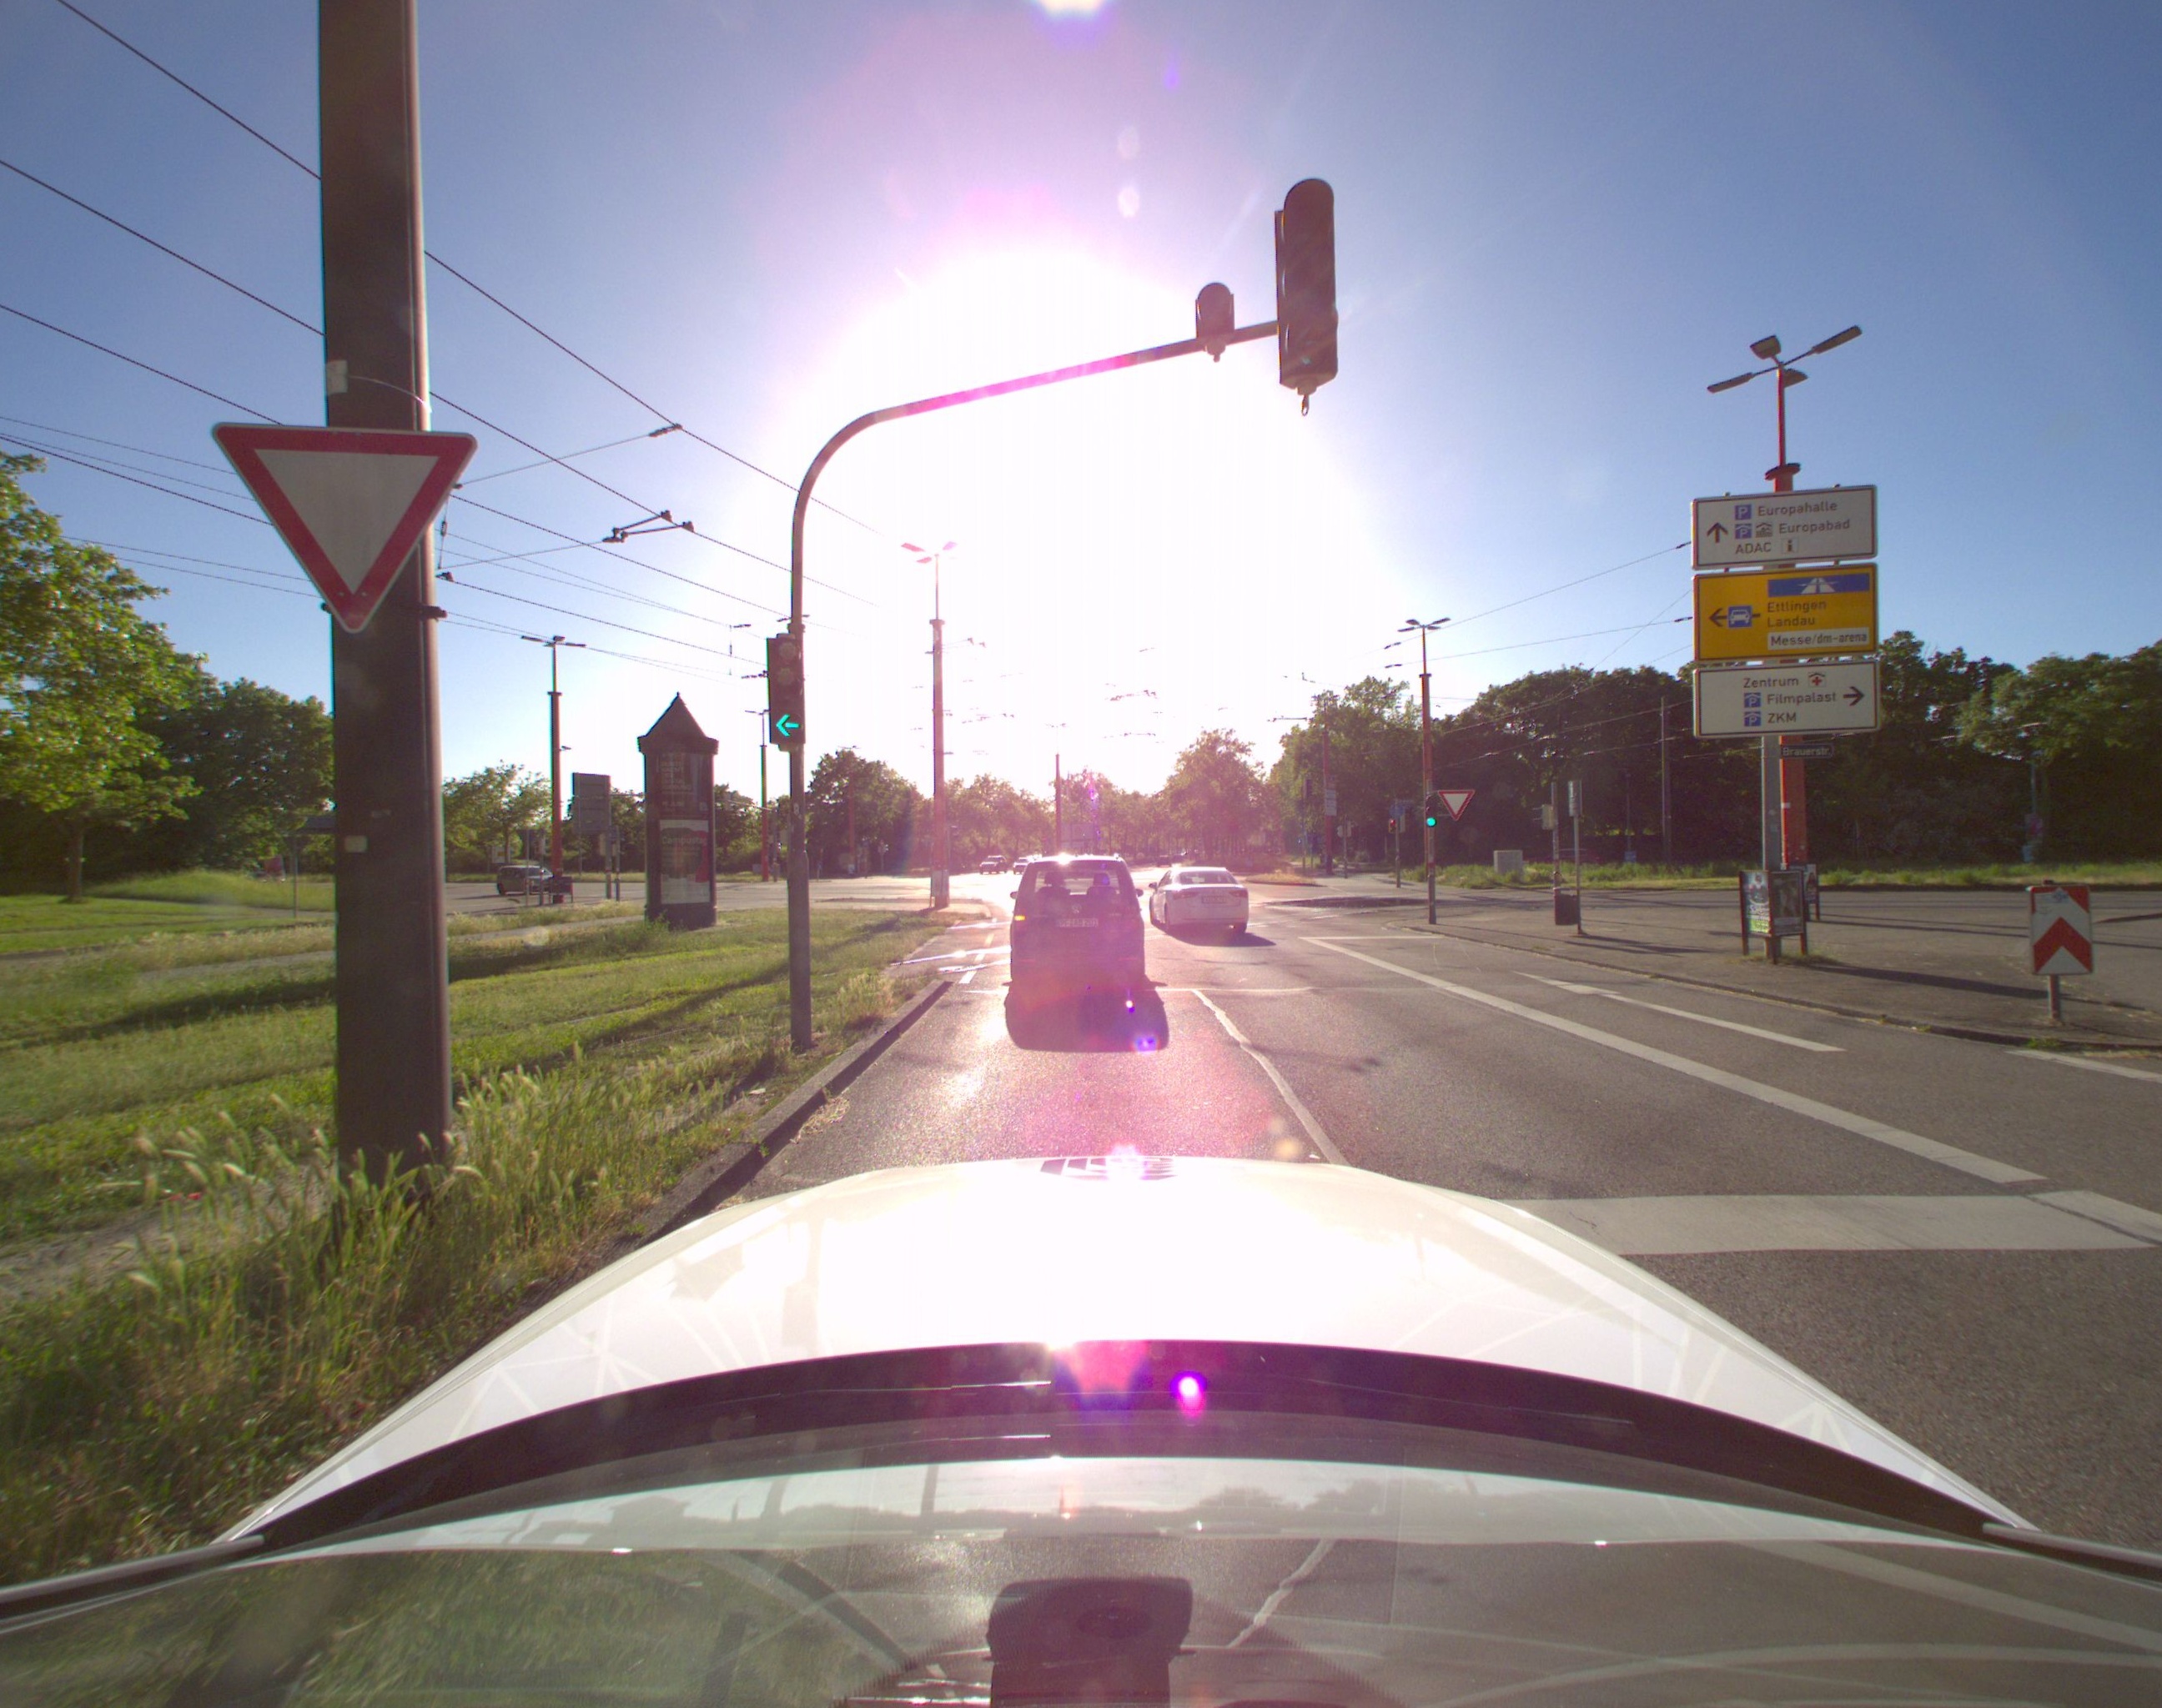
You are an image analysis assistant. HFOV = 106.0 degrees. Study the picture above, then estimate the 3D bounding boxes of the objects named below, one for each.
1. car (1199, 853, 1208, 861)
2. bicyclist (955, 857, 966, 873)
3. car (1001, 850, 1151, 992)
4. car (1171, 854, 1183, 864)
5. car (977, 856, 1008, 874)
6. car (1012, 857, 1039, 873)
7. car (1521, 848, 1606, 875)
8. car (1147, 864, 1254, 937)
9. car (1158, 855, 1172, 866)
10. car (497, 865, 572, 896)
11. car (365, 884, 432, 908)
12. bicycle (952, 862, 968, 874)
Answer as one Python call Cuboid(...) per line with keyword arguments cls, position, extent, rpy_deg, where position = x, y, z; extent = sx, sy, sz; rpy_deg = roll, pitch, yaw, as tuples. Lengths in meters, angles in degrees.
Cuboid(cls="car", position=(26.148, 0.623, 174.088), extent=(1.778, 1.502, 4.062), rpy_deg=(0, 0, 11))
Cuboid(cls="bicyclist", position=(-12.236, 1.137, 82.614), extent=(0.753, 1.557, 0.985), rpy_deg=(-1, 0, 17))
Cuboid(cls="car", position=(-0.060, 0.796, 12.104), extent=(1.762, 1.644, 4.922), rpy_deg=(-1, 0, 0))
Cuboid(cls="car", position=(15.813, 0.899, 134.088), extent=(1.862, 1.627, 4.008), rpy_deg=(0, -1, 7))
Cuboid(cls="car", position=(-8.868, 1.122, 81.912), extent=(1.890, 1.726, 4.666), rpy_deg=(-1, 0, 10))
Cuboid(cls="car", position=(-5.427, 1.080, 79.846), extent=(1.757, 1.538, 4.102), rpy_deg=(-1, 0, 9))
Cuboid(cls="car", position=(28.791, 0.438, 48.754), extent=(4.235, 1.495, 2.012), rpy_deg=(-1, 0, 27))
Cuboid(cls="car", position=(2.689, 1.002, 19.258), extent=(1.763, 1.464, 4.363), rpy_deg=(-1, 0, -2))
Cuboid(cls="car", position=(10.846, 0.875, 105.704), extent=(1.781, 1.388, 4.056), rpy_deg=(0, 0, 6))
Cuboid(cls="car", position=(-34.131, 1.655, 50.837), extent=(4.391, 1.775, 1.916), rpy_deg=(-1, 1, 27))
Cuboid(cls="car", position=(-48.145, 2.953, 57.447), extent=(4.508, 1.474, 1.916), rpy_deg=(-1, 1, 27))
Cuboid(cls="bicycle", position=(-12.254, 1.433, 82.537), extent=(0.758, 1.091, 2.024), rpy_deg=(-1, 0, 17))
